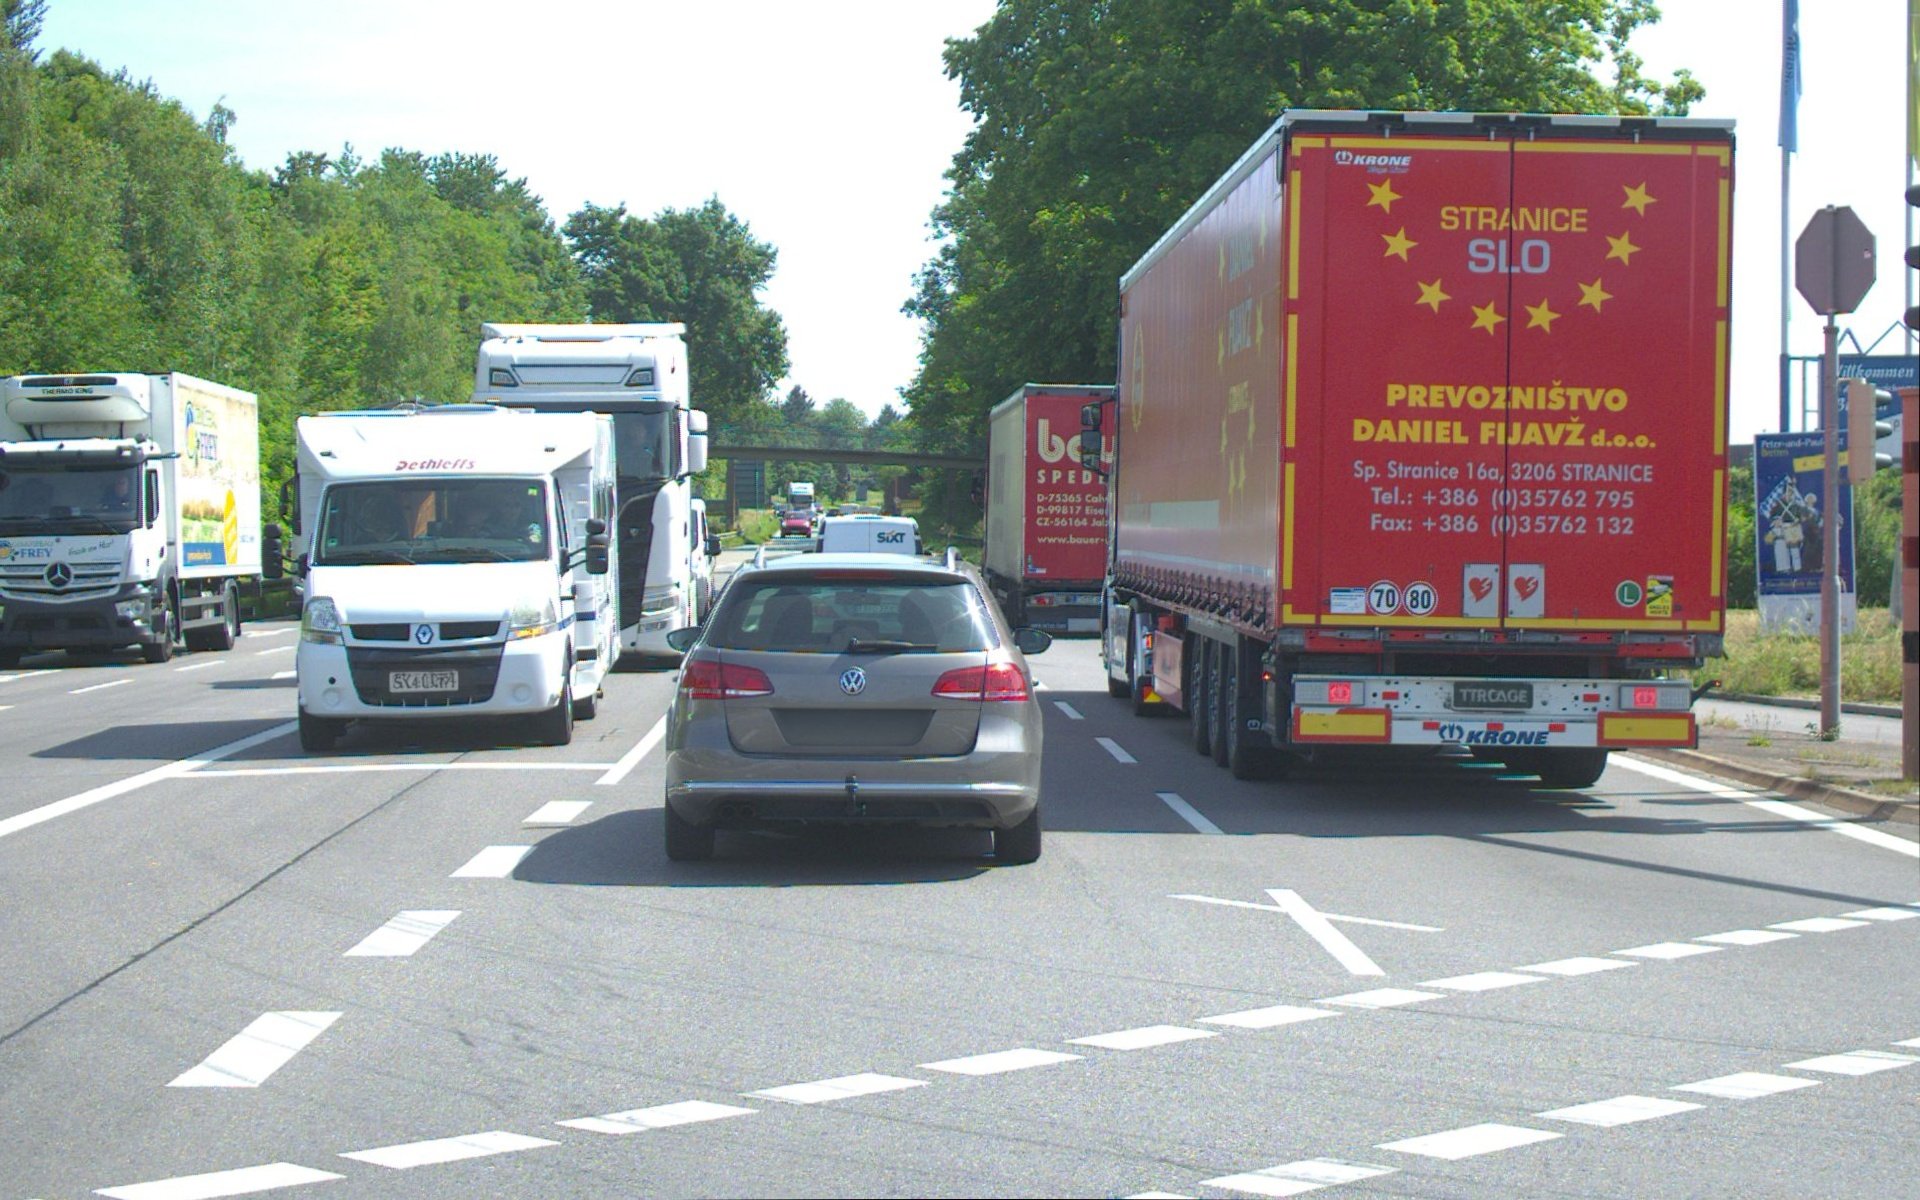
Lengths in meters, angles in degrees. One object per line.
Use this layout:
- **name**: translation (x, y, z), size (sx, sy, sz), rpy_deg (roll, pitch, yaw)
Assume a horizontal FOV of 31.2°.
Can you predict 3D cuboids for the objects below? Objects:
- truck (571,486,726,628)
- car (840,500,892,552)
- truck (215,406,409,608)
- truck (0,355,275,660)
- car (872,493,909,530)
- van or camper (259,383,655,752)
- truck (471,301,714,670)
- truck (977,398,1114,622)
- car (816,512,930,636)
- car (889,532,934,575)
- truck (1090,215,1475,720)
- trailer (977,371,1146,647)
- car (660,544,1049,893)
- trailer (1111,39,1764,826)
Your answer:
- **truck**: translation (-5.275, -0.745, 58.951), size (2.227, 2.260, 6.500), rpy_deg (-1, 1, -2)
- **car**: translation (-3.790, -2.963, 138.452), size (1.993, 2.007, 4.000), rpy_deg (-1, 1, -2)
- **truck**: translation (-14.056, -1.987, 75.289), size (2.829, 4.102, 9.684), rpy_deg (-1, 1, -3)
- **truck**: translation (-12.100, -1.282, 49.907), size (2.729, 3.985, 9.621), rpy_deg (-1, 1, -3)
- **car**: translation (-3.936, -5.006, 194.358), size (1.993, 2.007, 4.000), rpy_deg (-1, 1, -2)
- **van or camper**: translation (-3.885, -0.288, 27.955), size (2.330, 2.591, 6.979), rpy_deg (-1, 1, -1)
- **truck**: translation (-4.308, -1.320, 41.363), size (2.536, 4.074, 6.267), rpy_deg (-1, 1, -3)
- **truck**: translation (1.594, -1.705, 66.347), size (2.406, 4.113, 5.521), rpy_deg (-1, 1, 0)
- **car**: translation (-1.456, -0.443, 56.244), size (1.770, 1.930, 3.978), rpy_deg (-1, 1, -3)
- **car**: translation (-2.322, -2.210, 162.540), size (1.993, 2.007, 4.000), rpy_deg (-1, 1, -2)
- **truck**: translation (2.874, -1.180, 32.372), size (2.870, 4.266, 5.839), rpy_deg (1, 1, -1)
- **trailer**: translation (1.602, -1.509, 59.719), size (2.395, 4.229, 13.078), rpy_deg (-1, 1, 0)
- **car**: translation (-0.556, 0.491, 17.146), size (1.691, 1.508, 4.001), rpy_deg (-1, 1, -3)
- **trailer**: translation (2.961, -1.035, 25.836), size (2.839, 4.350, 13.168), rpy_deg (1, 1, -1)
